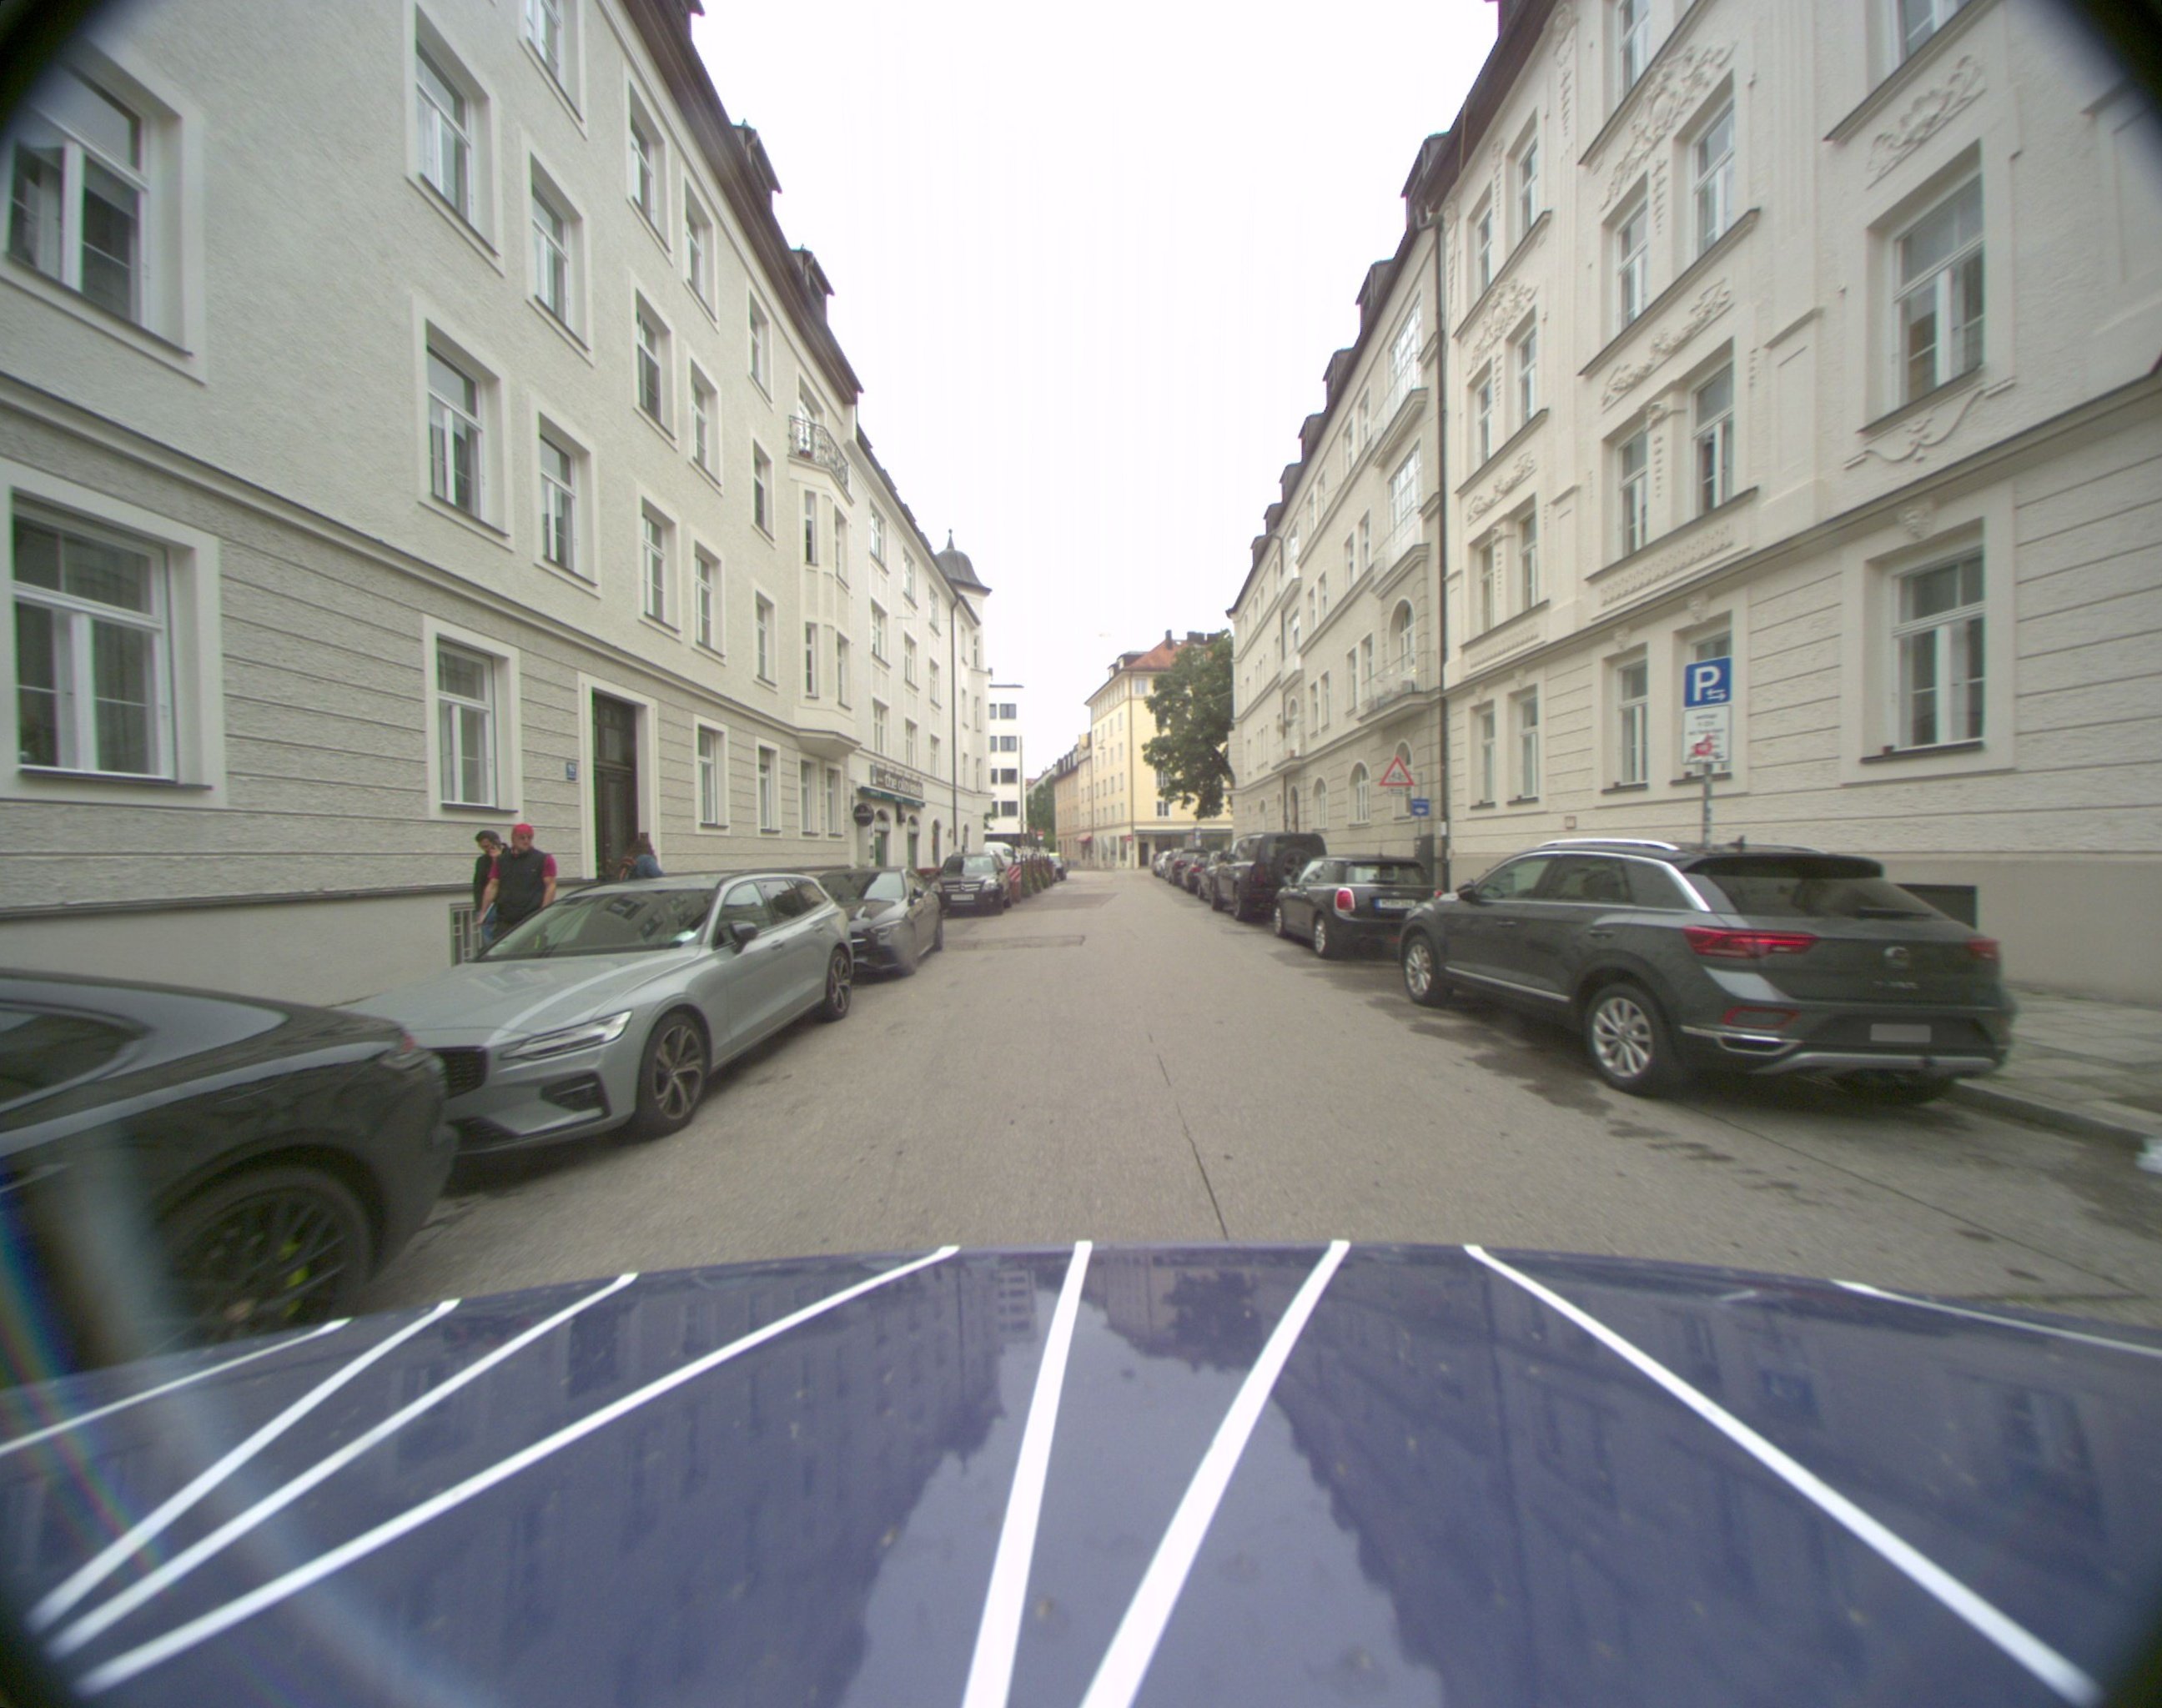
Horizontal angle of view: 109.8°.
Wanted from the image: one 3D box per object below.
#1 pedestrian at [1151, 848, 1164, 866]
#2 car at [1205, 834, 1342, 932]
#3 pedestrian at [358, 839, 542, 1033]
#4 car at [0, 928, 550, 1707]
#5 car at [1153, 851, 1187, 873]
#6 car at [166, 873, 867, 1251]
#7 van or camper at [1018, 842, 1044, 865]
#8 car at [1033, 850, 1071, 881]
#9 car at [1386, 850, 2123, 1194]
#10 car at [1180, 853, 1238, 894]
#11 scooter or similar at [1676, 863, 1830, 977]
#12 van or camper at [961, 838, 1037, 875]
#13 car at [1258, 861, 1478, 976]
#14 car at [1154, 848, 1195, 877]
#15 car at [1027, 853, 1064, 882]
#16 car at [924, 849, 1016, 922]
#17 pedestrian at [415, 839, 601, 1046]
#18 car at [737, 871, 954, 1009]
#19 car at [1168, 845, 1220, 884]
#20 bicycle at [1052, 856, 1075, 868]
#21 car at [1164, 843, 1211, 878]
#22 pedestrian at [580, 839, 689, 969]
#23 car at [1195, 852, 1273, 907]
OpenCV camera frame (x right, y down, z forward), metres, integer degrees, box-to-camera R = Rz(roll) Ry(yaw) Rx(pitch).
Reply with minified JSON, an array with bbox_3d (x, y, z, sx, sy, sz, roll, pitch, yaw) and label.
[{"bbox_3d":[7.048,0.281,70.165,0.920,1.601,0.777,-1,1,31],"label":"pedestrian"},{"bbox_3d":[4.126,0.552,17.124,1.841,1.883,4.762,1,0,0],"label":"car"},{"bbox_3d":[-6.306,0.754,7.655,0.884,1.776,1.112,1,1,14],"label":"pedestrian"},{"bbox_3d":[-3.148,1.065,0.772,1.999,1.449,4.711,-1,1,-2],"label":"car"},{"bbox_3d":[5.689,0.478,49.018,1.685,1.385,4.478,0,0,0],"label":"car"},{"bbox_3d":[-3.155,0.993,5.621,1.765,1.477,4.420,-4,0,1],"label":"car"},{"bbox_3d":[-5.835,-0.049,88.137,1.968,2.494,5.716,-1,0,-14],"label":"van or camper"},{"bbox_3d":[-1.654,0.651,44.854,1.841,1.609,4.095,-4,0,2],"label":"car"},{"bbox_3d":[4.038,0.800,5.674,1.731,1.609,4.120,1,1,-2],"label":"car"},{"bbox_3d":[4.710,0.665,28.403,1.658,1.399,4.092,0,1,3],"label":"car"},{"bbox_3d":[8.029,0.738,9.166,0.495,1.215,1.548,-1,1,1],"label":"scooter or similar"},{"bbox_3d":[-6.566,0.212,60.816,5.869,2.697,2.304,-1,-2,-7],"label":"van or camper"},{"bbox_3d":[4.126,0.836,11.753,1.841,1.386,4.244,1,0,1],"label":"car"},{"bbox_3d":[5.423,0.449,44.443,1.699,1.559,3.949,-1,1,-3],"label":"car"},{"bbox_3d":[-1.900,0.694,41.311,1.670,1.392,3.493,-4,0,2],"label":"car"},{"bbox_3d":[-2.862,0.757,20.542,1.805,1.665,4.188,-3,1,0],"label":"car"},{"bbox_3d":[-5.444,0.768,7.284,0.884,1.801,1.112,1,1,17],"label":"pedestrian"},{"bbox_3d":[-3.113,1.036,11.208,1.841,1.391,4.972,-3,0,-3],"label":"car"},{"bbox_3d":[4.960,0.416,33.881,1.880,1.590,4.434,-1,0,3],"label":"car"},{"bbox_3d":[-1.575,0.719,68.751,1.995,0.958,0.973,-1,1,-11],"label":"bicycle"},{"bbox_3d":[5.433,0.312,39.258,1.841,1.668,4.212,-1,0,0],"label":"car"},{"bbox_3d":[-6.627,0.700,11.333,0.885,1.803,1.111,3,1,1],"label":"pedestrian"},{"bbox_3d":[4.501,0.696,22.811,1.620,1.504,3.531,0,1,0],"label":"car"}]
